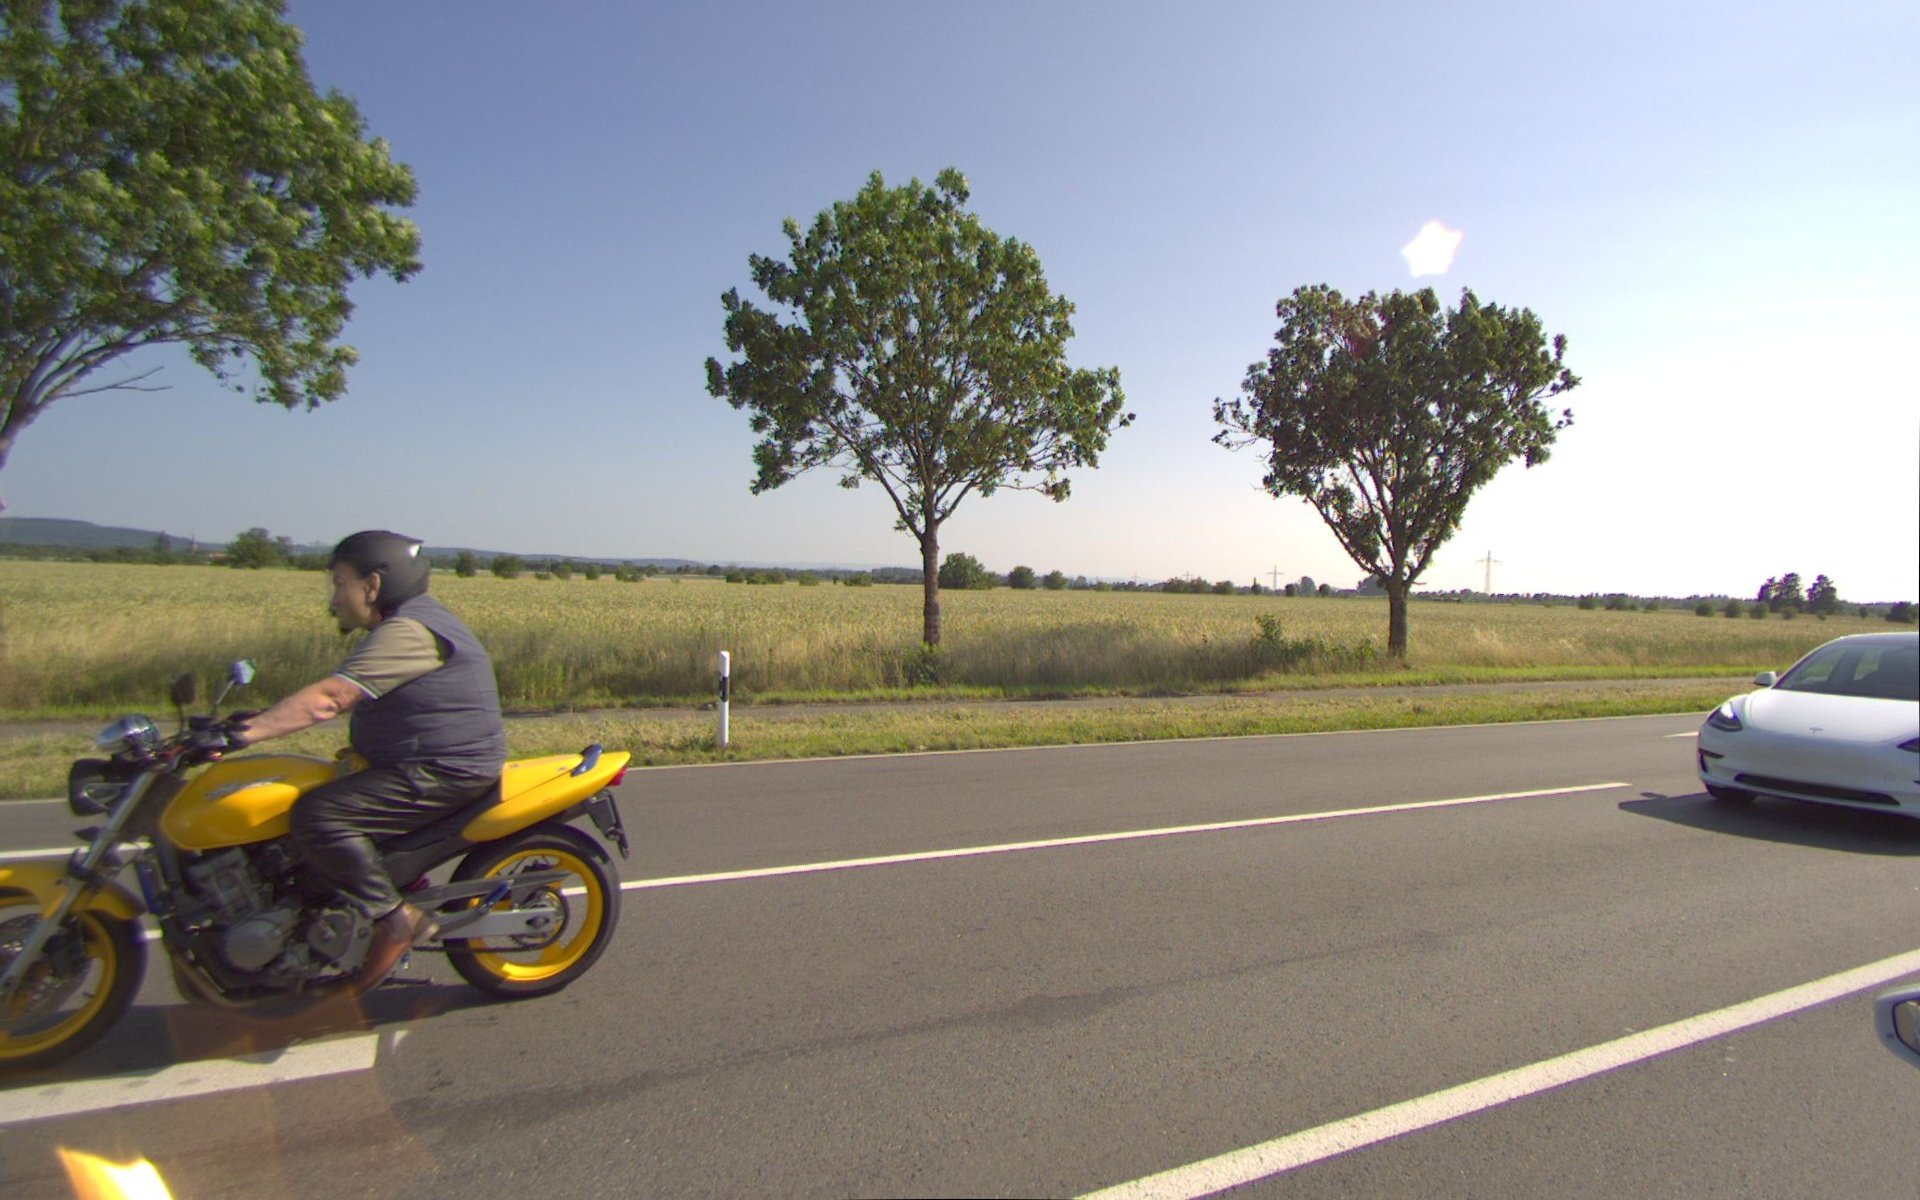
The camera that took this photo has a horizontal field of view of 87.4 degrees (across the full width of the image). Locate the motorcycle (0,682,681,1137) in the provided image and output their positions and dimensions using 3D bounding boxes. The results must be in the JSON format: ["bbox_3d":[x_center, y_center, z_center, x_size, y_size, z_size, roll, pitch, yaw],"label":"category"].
[{"bbox_3d":[-2.215,0.855,3.224,2.399,1.057,0.893,1,0,-29],"label":"motorcycle"}]

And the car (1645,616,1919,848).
[{"bbox_3d":[7.796,0.930,8.279,4.224,1.486,1.881,2,0,-29],"label":"car"}]

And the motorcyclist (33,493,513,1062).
[{"bbox_3d":[-2.134,0.488,3.289,1.166,1.536,0.676,1,0,-28],"label":"motorcyclist"}]
